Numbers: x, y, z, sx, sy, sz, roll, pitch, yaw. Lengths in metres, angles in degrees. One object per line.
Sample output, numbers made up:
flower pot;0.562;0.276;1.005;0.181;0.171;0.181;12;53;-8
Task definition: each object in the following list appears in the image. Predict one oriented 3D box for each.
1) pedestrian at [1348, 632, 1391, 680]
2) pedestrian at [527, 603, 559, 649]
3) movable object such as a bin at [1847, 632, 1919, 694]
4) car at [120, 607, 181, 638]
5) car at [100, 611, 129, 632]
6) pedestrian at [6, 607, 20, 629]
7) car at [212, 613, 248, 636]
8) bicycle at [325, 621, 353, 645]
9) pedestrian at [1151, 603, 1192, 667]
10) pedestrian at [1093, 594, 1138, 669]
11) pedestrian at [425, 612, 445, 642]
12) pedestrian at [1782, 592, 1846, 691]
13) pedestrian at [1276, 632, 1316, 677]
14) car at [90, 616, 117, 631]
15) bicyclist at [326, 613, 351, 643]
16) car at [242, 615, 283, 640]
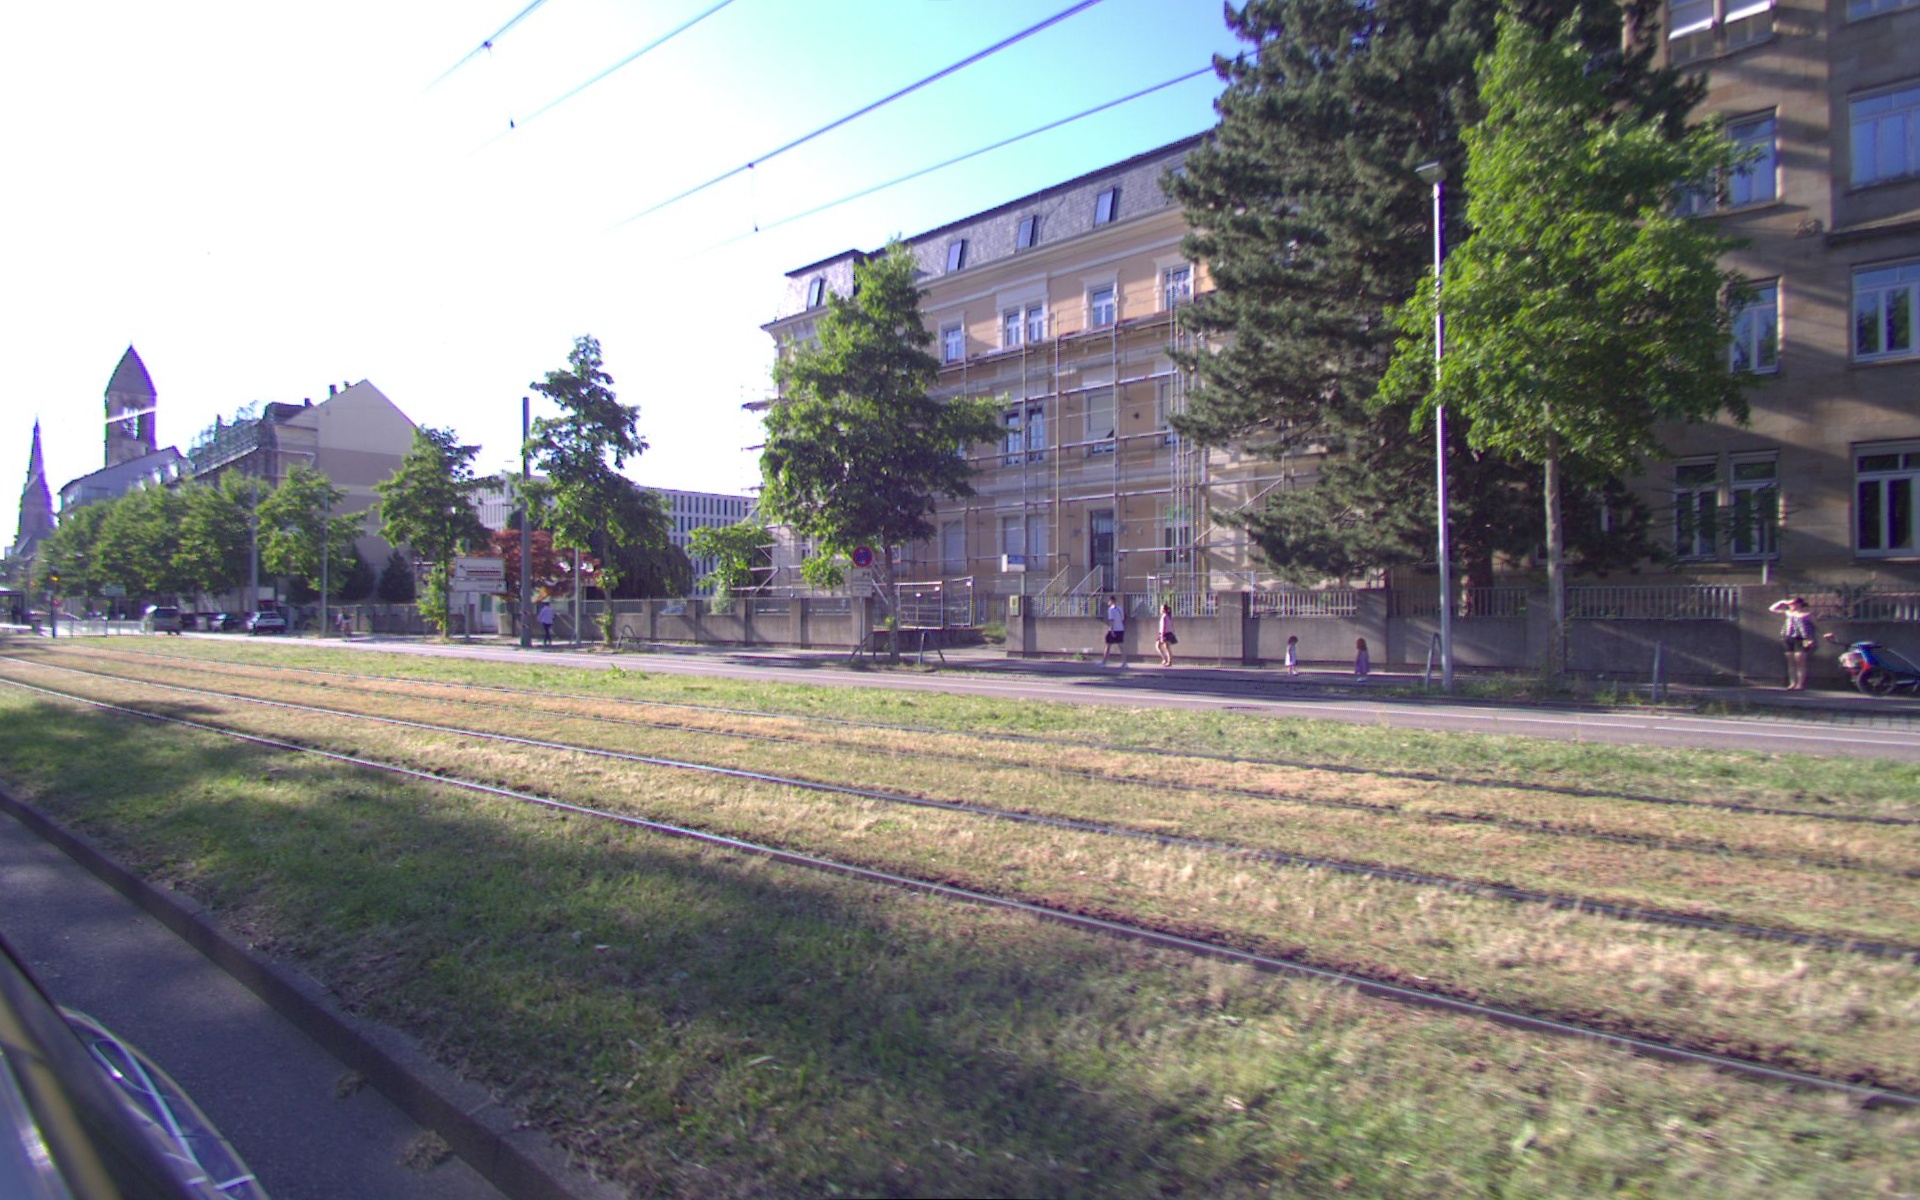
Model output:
pedestrian;8.182;1.105;20.215;0.642;0.939;0.586;2;-2;-43
pedestrian;-18.080;1.122;43.846;1.086;1.942;0.849;-1;-2;41
movable object such as a bin;14.874;0.983;16.005;1.236;0.871;1.232;0;1;40
car;-54.443;1.461;68.033;4.461;1.933;1.923;0;1;34
car;-92.909;2.312;111.151;3.784;2.182;1.920;-1;1;42
pedestrian;-74.730;1.417;79.840;0.654;1.703;0.672;-1;1;40
car;-55.866;1.860;77.410;1.701;1.598;4.069;-2;1;-43
bicycle;-32.053;1.704;52.241;1.755;1.202;0.766;-1;1;42
pedestrian;5.218;0.857;25.014;0.783;1.551;0.643;-1;-2;41
pedestrian;3.801;0.757;24.712;0.888;1.789;0.643;-1;-2;41
pedestrian;-29.306;1.515;56.498;0.811;1.660;0.717;-1;-2;36
pedestrian;14.335;0.682;16.996;0.797;1.605;0.612;-1;1;41
pedestrian;7.185;1.149;21.620;0.642;0.939;0.586;2;-2;-43
car;-98.496;2.706;116.372;3.784;1.648;1.787;-1;1;42
bicyclist;-32.086;1.436;52.259;1.134;1.492;0.766;-1;1;42
car;-48.044;1.861;69.652;1.701;1.598;4.069;-2;1;-43
